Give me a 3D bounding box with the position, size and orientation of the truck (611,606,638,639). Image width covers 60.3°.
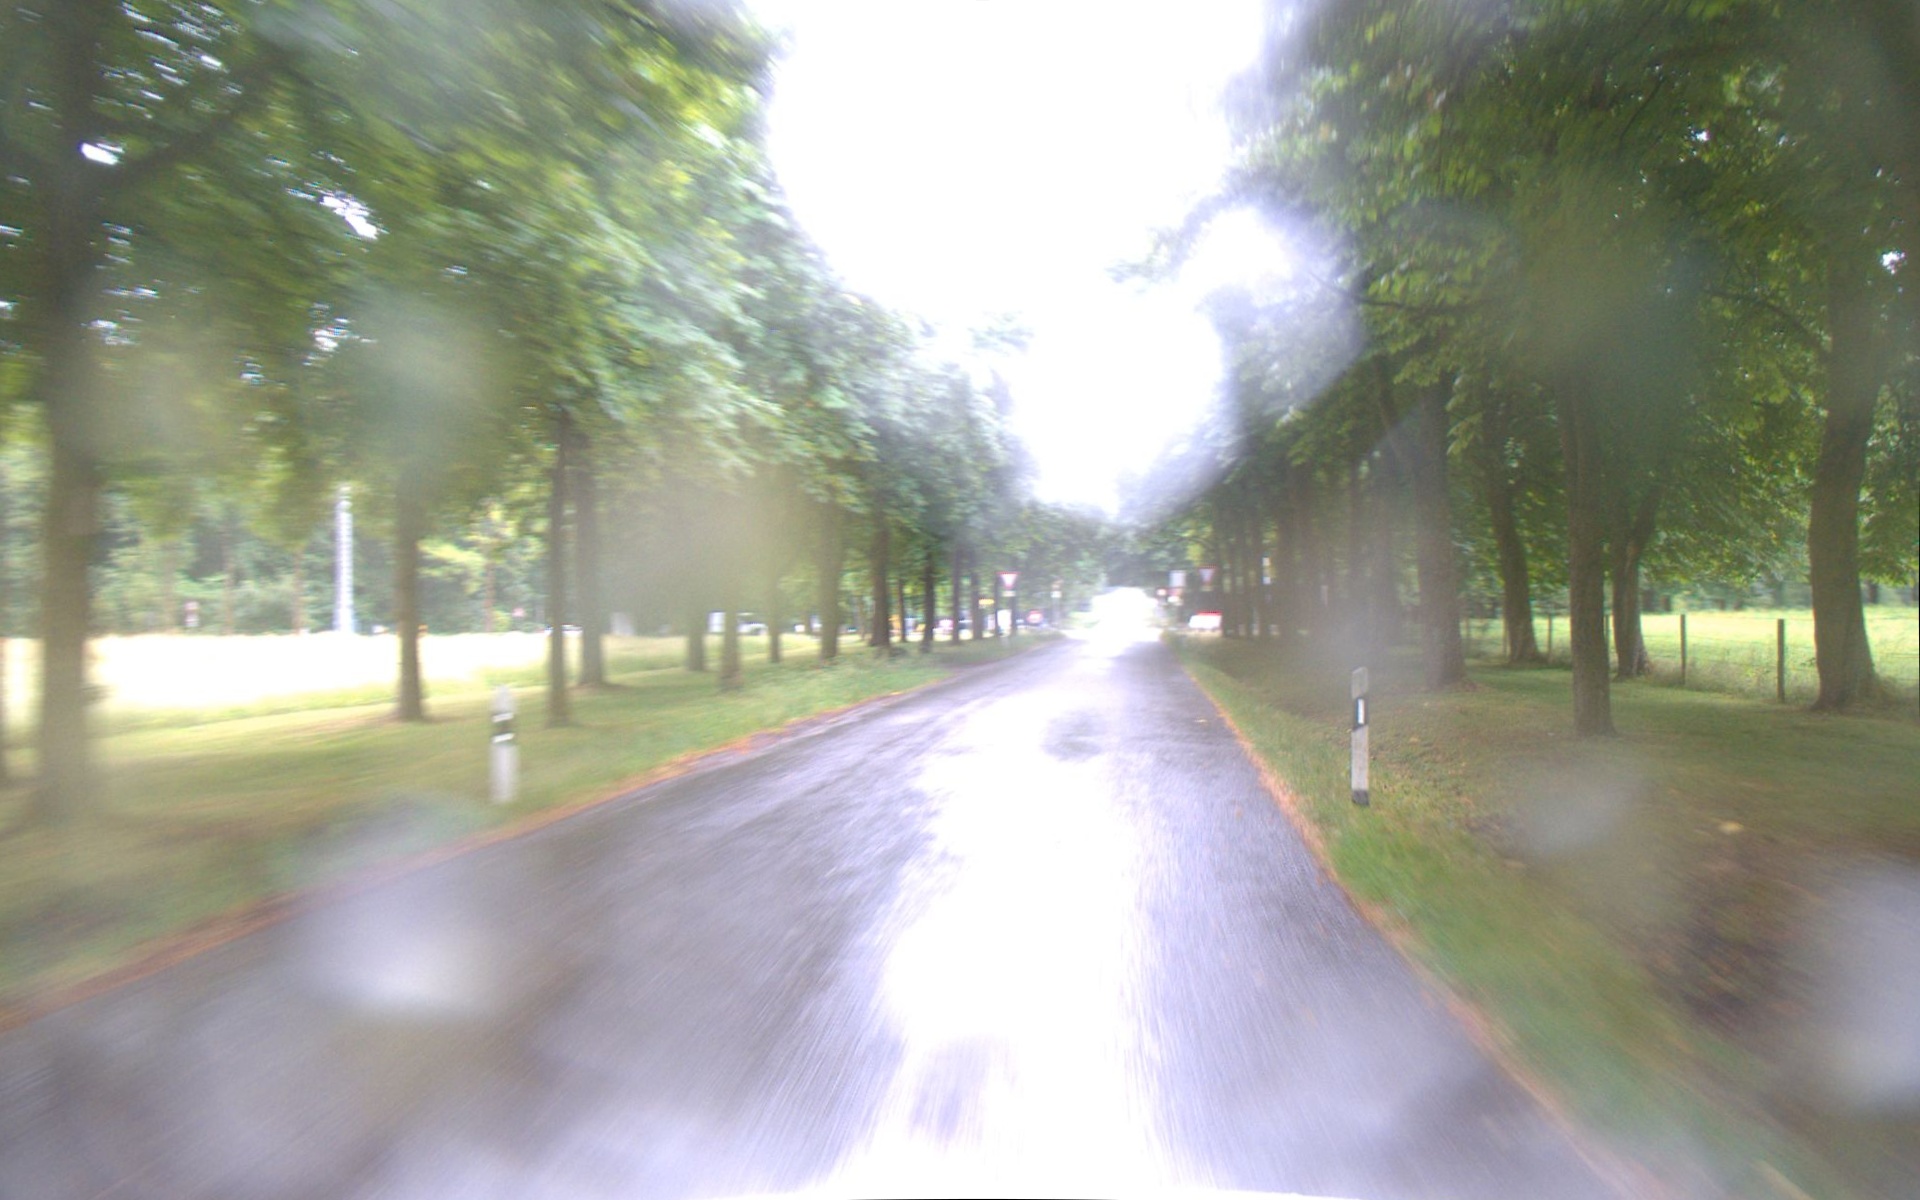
[{"bbox_3d":[-26.260,1.760,129.657,1.834,2.485,3.343,-1,-1,-8],"label":"truck"}]

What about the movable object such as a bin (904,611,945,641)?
[{"bbox_3d":[-4.141,3.031,189.957,4.492,3.352,3.662,-1,-1,-5],"label":"movable object such as a bin"}]

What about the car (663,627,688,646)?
[{"bbox_3d":[-22.557,2.873,131.052,1.732,1.454,4.094,-1,-1,-12],"label":"car"}]

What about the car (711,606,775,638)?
[{"bbox_3d":[-17.724,1.807,134.884,2.372,2.450,5.891,2,-3,-42],"label":"car"}]
